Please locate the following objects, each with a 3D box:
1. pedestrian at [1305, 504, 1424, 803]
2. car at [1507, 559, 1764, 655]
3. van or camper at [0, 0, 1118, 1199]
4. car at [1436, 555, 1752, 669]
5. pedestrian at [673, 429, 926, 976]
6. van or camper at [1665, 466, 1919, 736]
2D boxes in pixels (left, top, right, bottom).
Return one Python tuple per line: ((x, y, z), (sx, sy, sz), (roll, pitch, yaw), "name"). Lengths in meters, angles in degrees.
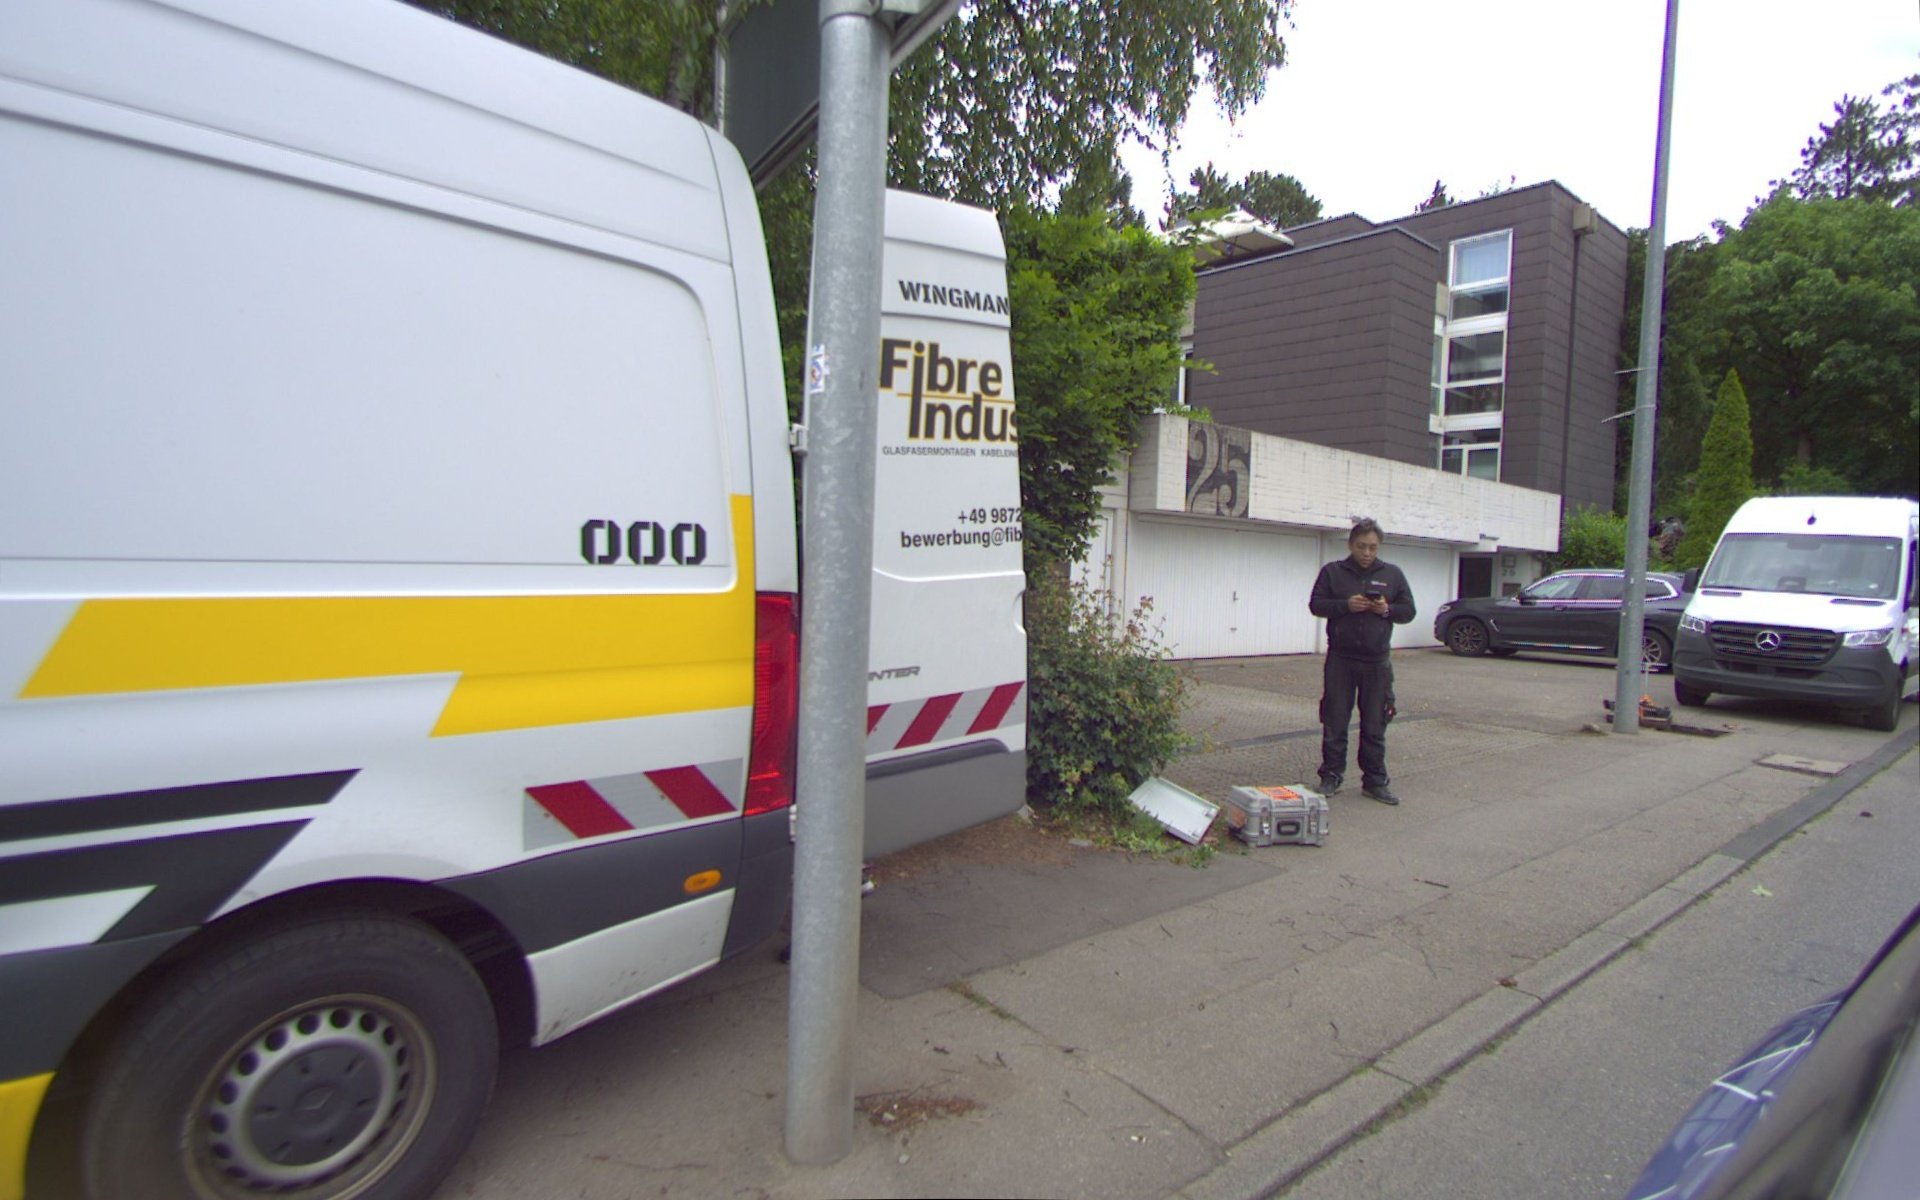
((2.575, 0.301, 6.431), (0.643, 1.773, 0.649), (1, 2, 25), "pedestrian")
((13.407, 0.051, 20.300), (1.712, 1.671, 3.914), (-1, 3, -36), "car")
((-2.702, -0.007, 1.920), (6.493, 2.523, 2.345), (-2, 6, -43), "van or camper")
((10.981, 0.103, 17.828), (1.665, 1.695, 4.394), (-1, 3, -39), "car")
((-0.542, 0.318, 3.596), (0.776, 1.741, 0.754), (1, 3, -4), "pedestrian")
((11.185, -0.114, 12.785), (6.429, 2.656, 1.996), (-1, 5, -40), "van or camper")
